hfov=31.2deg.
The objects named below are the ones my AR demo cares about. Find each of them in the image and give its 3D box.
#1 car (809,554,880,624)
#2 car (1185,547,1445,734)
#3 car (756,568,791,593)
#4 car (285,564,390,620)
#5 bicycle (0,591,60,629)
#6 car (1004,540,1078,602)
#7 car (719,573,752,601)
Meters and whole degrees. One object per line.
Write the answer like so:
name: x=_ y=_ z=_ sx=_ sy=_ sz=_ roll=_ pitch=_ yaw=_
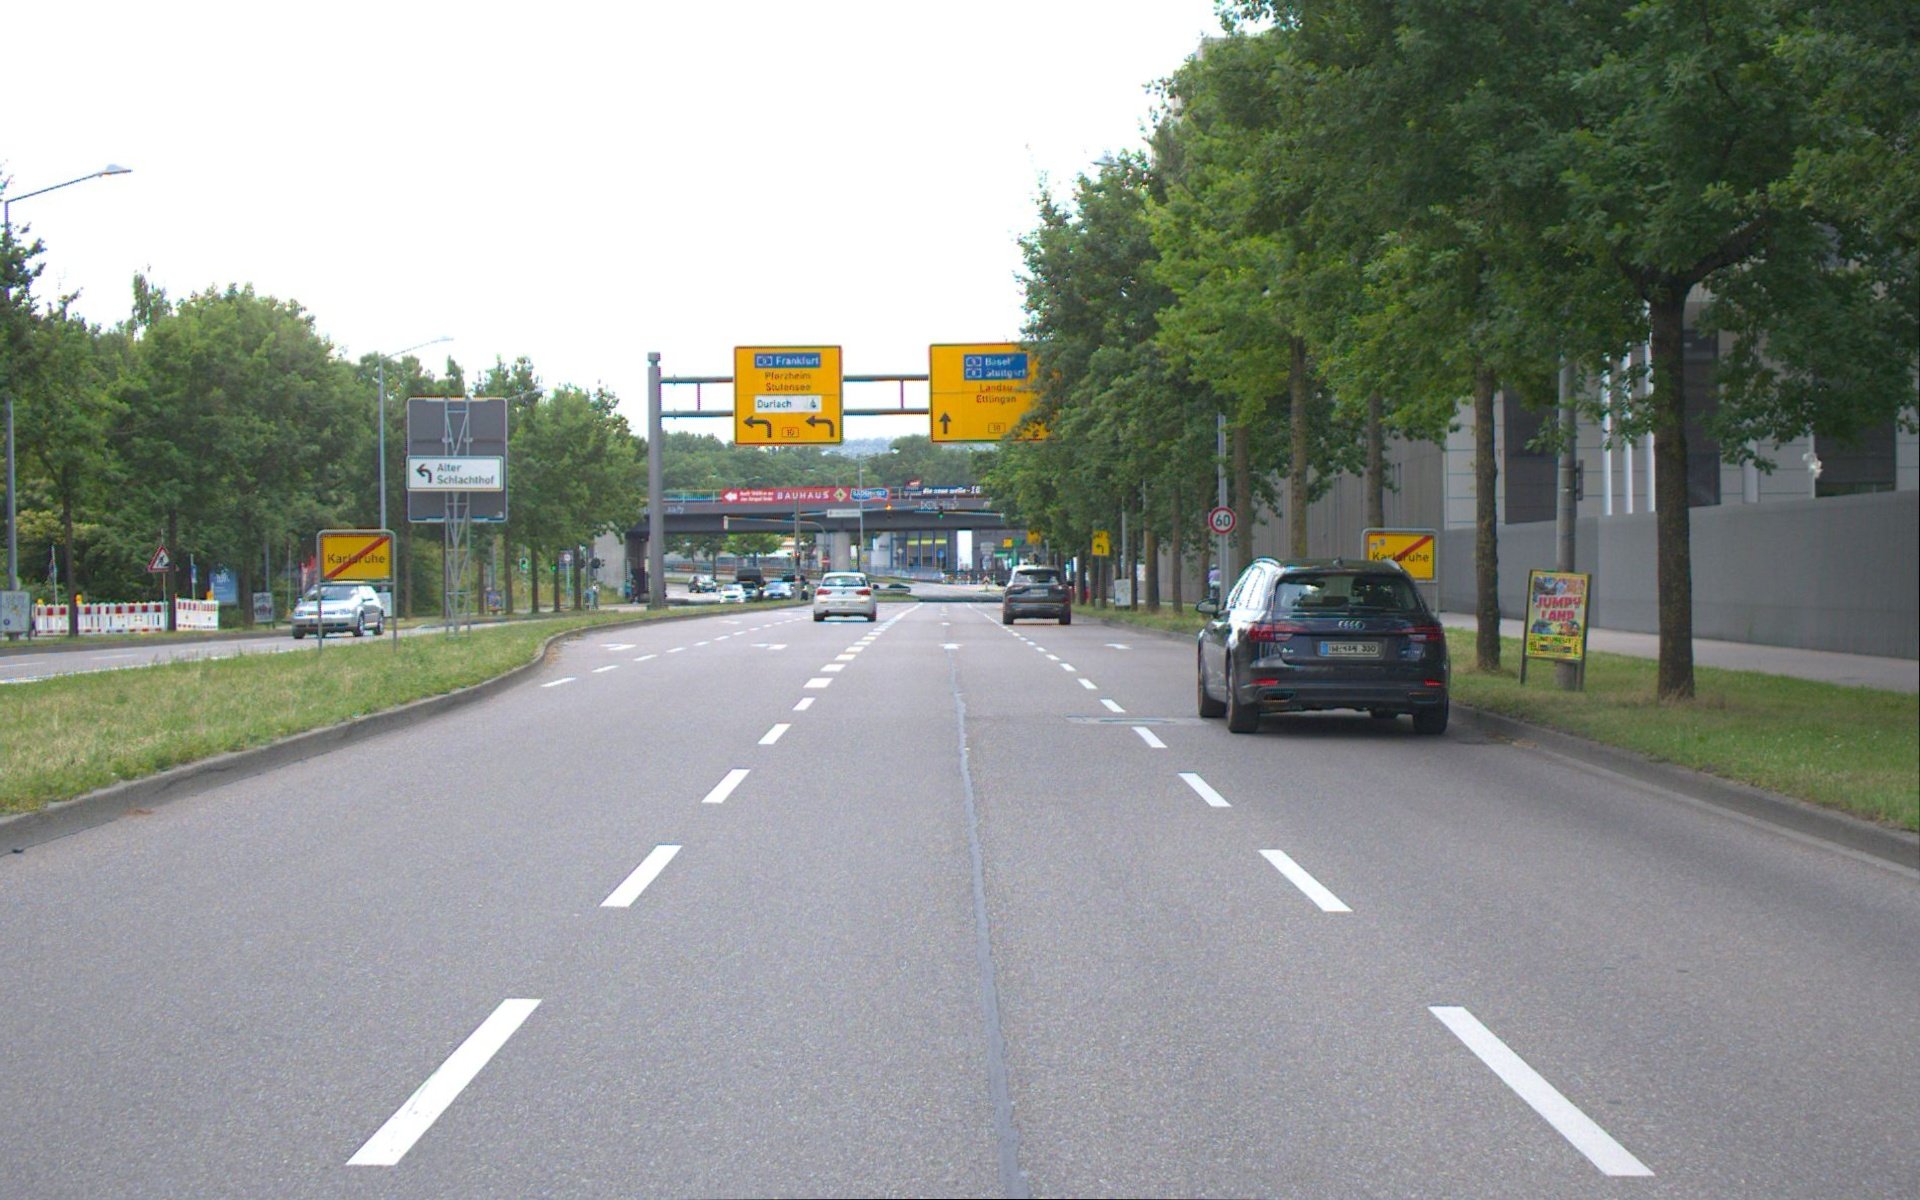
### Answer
car: x=-3.415 y=-0.329 z=100.789 sx=1.993 sy=2.007 sz=4.000 roll=1 pitch=0 yaw=-3
car: x=2.926 y=0.309 z=29.095 sx=1.684 sy=1.458 sz=4.000 roll=1 pitch=0 yaw=-1
car: x=-12.131 y=-1.282 z=223.586 sx=1.993 sy=1.612 sz=4.000 roll=-1 pitch=0 yaw=1
car: x=-15.795 y=-0.227 z=87.424 sx=1.640 sy=1.324 sz=4.381 roll=-1 pitch=1 yaw=3
bicycle: x=-26.436 y=0.289 z=97.335 sx=0.881 sy=1.056 sz=2.363 roll=-1 pitch=0 yaw=-40
car: x=2.288 y=-0.827 z=96.009 sx=1.993 sy=1.620 sz=4.309 roll=-1 pitch=1 yaw=2
car: x=-14.989 y=-0.881 z=229.251 sx=1.993 sy=1.777 sz=4.000 roll=1 pitch=-1 yaw=-1
